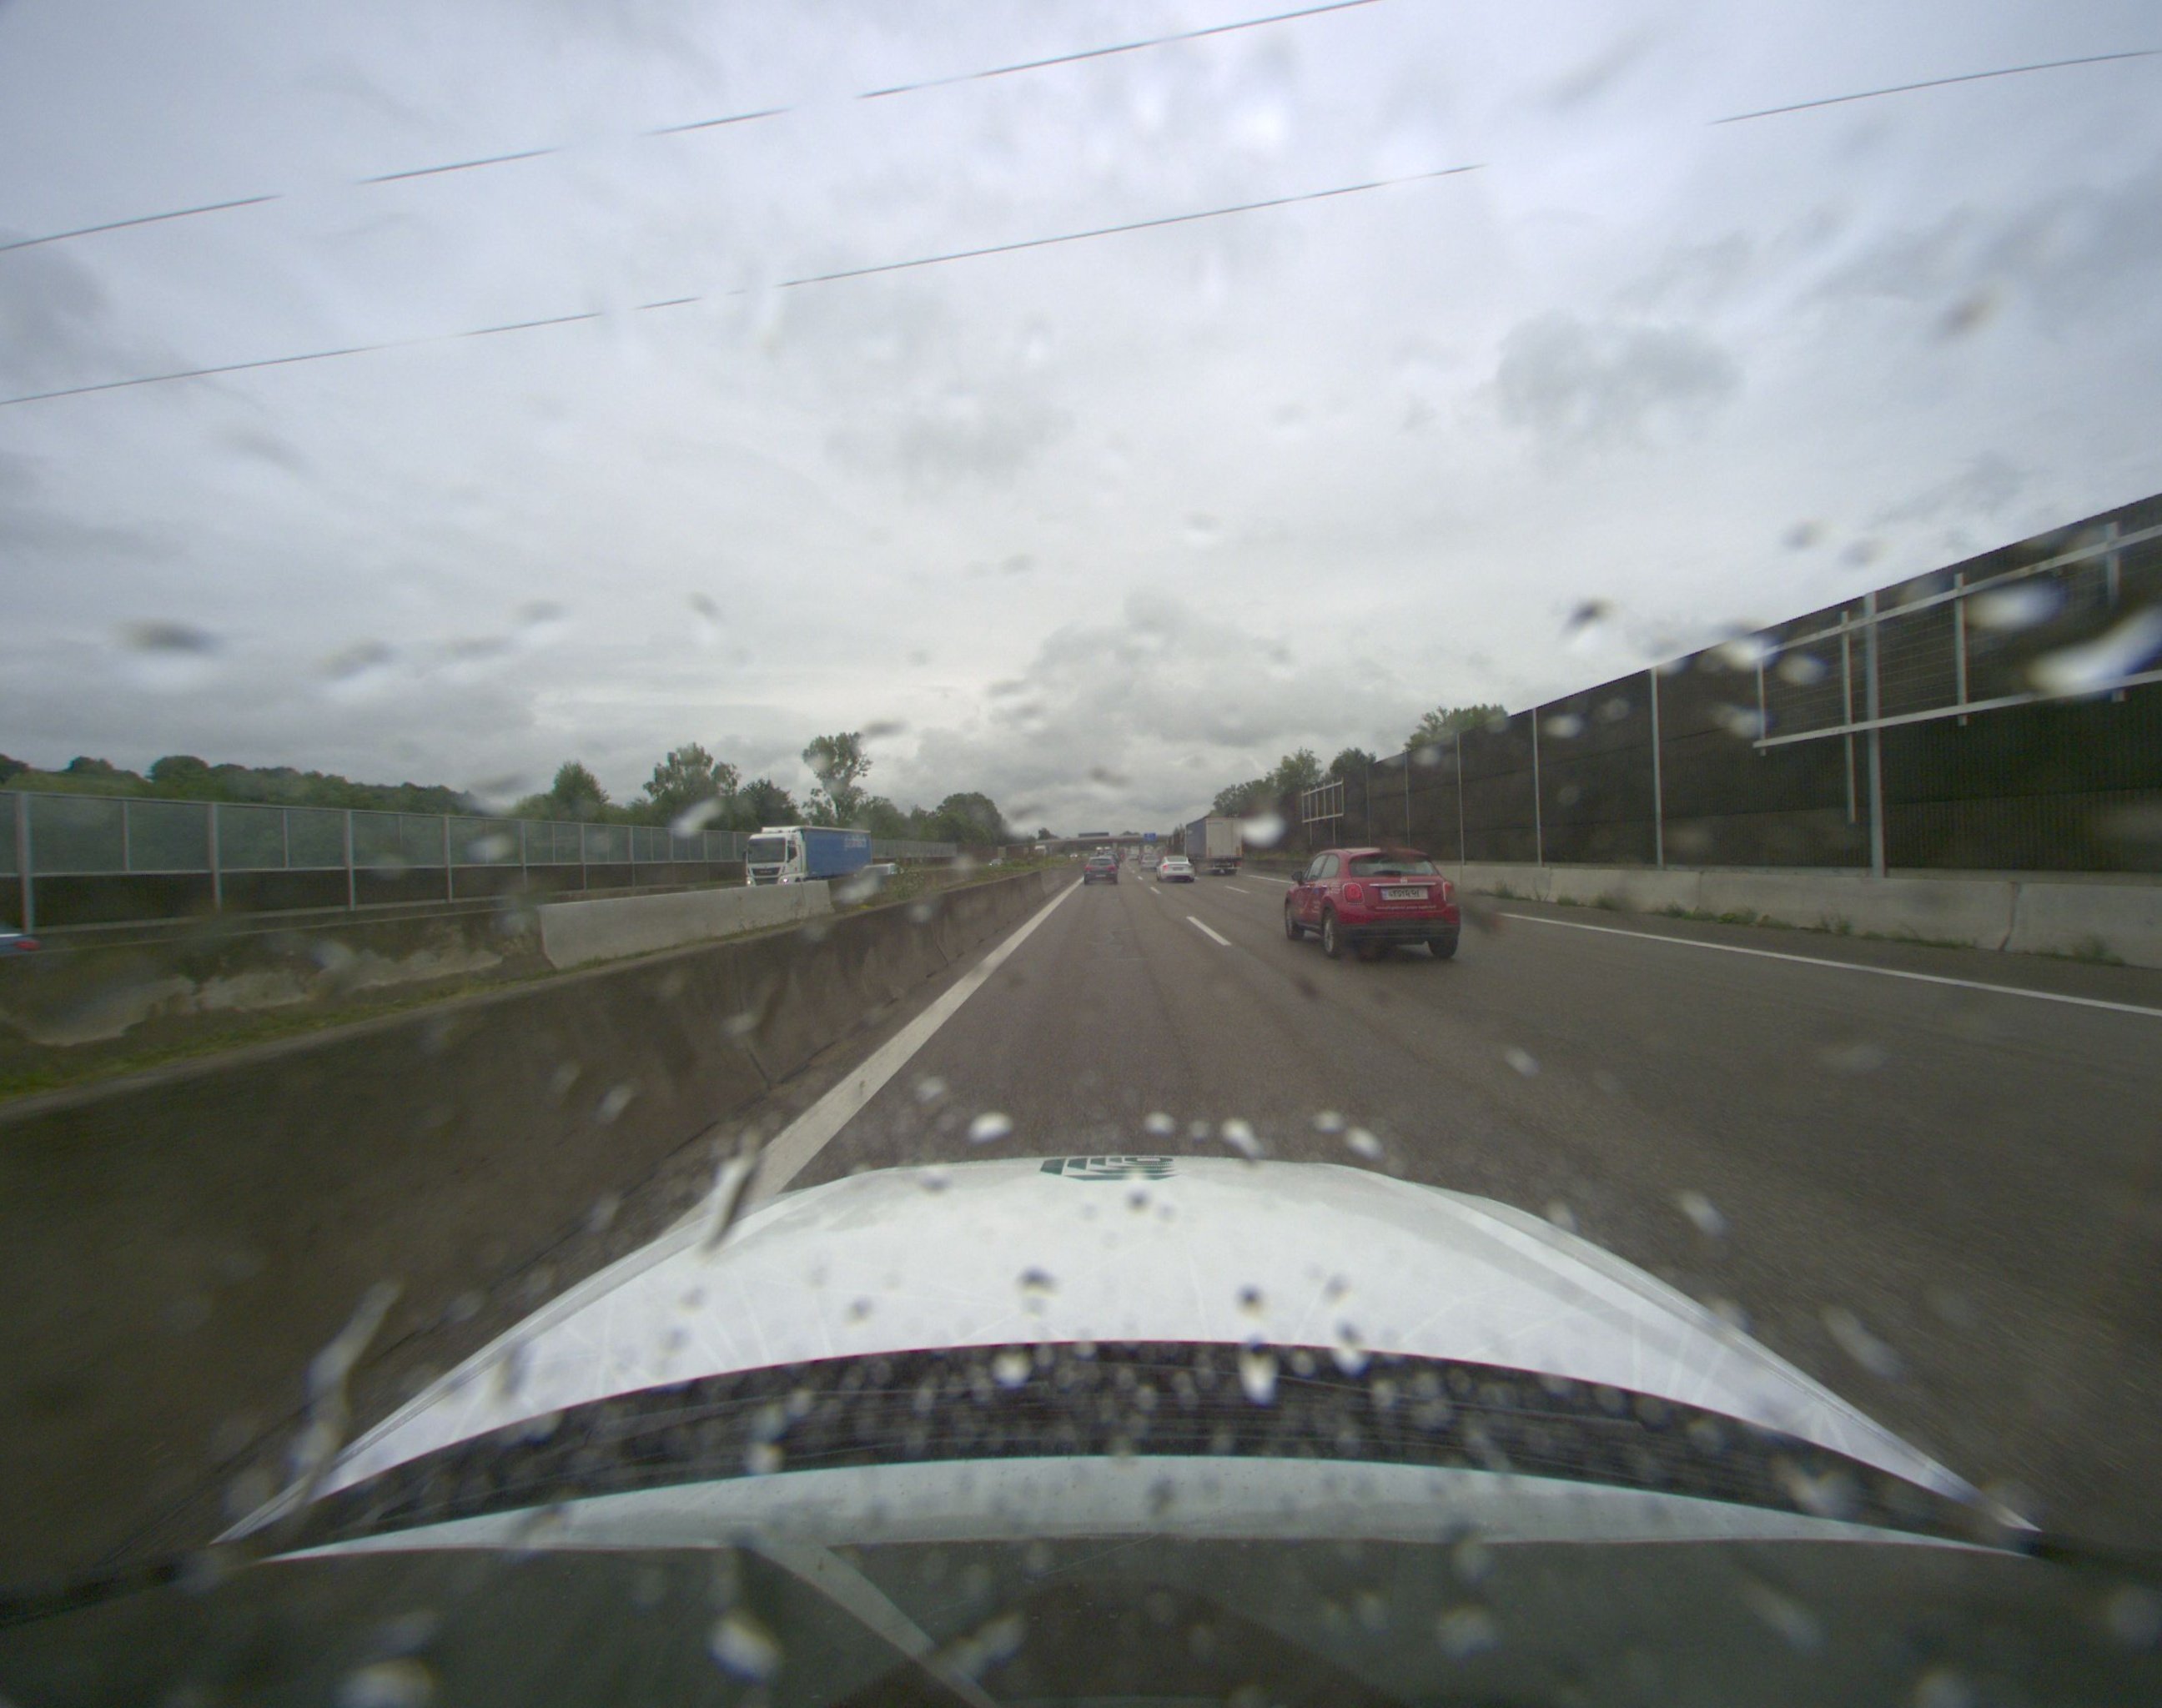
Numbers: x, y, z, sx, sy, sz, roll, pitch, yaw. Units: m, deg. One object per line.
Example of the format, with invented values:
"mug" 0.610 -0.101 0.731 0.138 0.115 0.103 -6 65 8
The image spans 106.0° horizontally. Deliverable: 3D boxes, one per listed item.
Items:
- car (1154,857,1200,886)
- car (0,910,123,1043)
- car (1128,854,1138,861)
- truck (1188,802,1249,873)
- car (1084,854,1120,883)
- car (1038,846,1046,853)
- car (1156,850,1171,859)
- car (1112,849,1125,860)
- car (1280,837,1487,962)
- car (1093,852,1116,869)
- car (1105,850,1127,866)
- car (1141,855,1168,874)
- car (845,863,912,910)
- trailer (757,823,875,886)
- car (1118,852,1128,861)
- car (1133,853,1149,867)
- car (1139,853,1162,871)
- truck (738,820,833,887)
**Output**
"car" 5.217 0.944 44.787 1.988 1.486 3.998 -1 0 -1
"car" -14.416 1.456 8.933 2.211 1.626 4.637 -1 -4 0
"car" 11.187 0.724 174.379 1.986 1.519 4.001 -1 0 1
"truck" 9.632 -1.086 57.948 3.035 4.734 7.678 0 0 0
"car" 1.071 0.719 43.126 1.758 1.453 3.999 -1 0 0
"car" -9.209 -1.119 192.387 1.989 1.519 3.995 -1 0 -3
"car" 13.356 0.087 132.269 1.986 1.519 4.001 -1 0 1
"car" 6.387 0.130 139.629 1.987 1.815 3.999 -1 0 0
"car" 4.502 0.623 12.832 1.949 1.647 4.003 -1 0 3
"car" 1.985 0.559 69.220 1.776 1.406 3.624 -1 0 -1
"car" 3.543 0.386 83.890 1.988 1.585 3.998 -2 0 -1
"car" 6.114 0.859 68.056 1.986 1.519 4.002 -1 0 2
"car" -9.321 1.455 37.774 1.986 2.014 4.002 0 0 2
"trailer" -17.318 0.073 54.749 2.982 3.691 14.061 0 0 1
"car" 8.592 0.490 165.620 1.986 1.624 4.002 -1 0 2
"car" 8.451 0.855 114.546 1.987 2.014 3.999 0 0 0
"car" 6.109 0.713 72.017 1.697 1.543 3.838 -1 0 0
"truck" -17.406 -0.033 48.534 2.982 3.691 6.883 0 0 1
